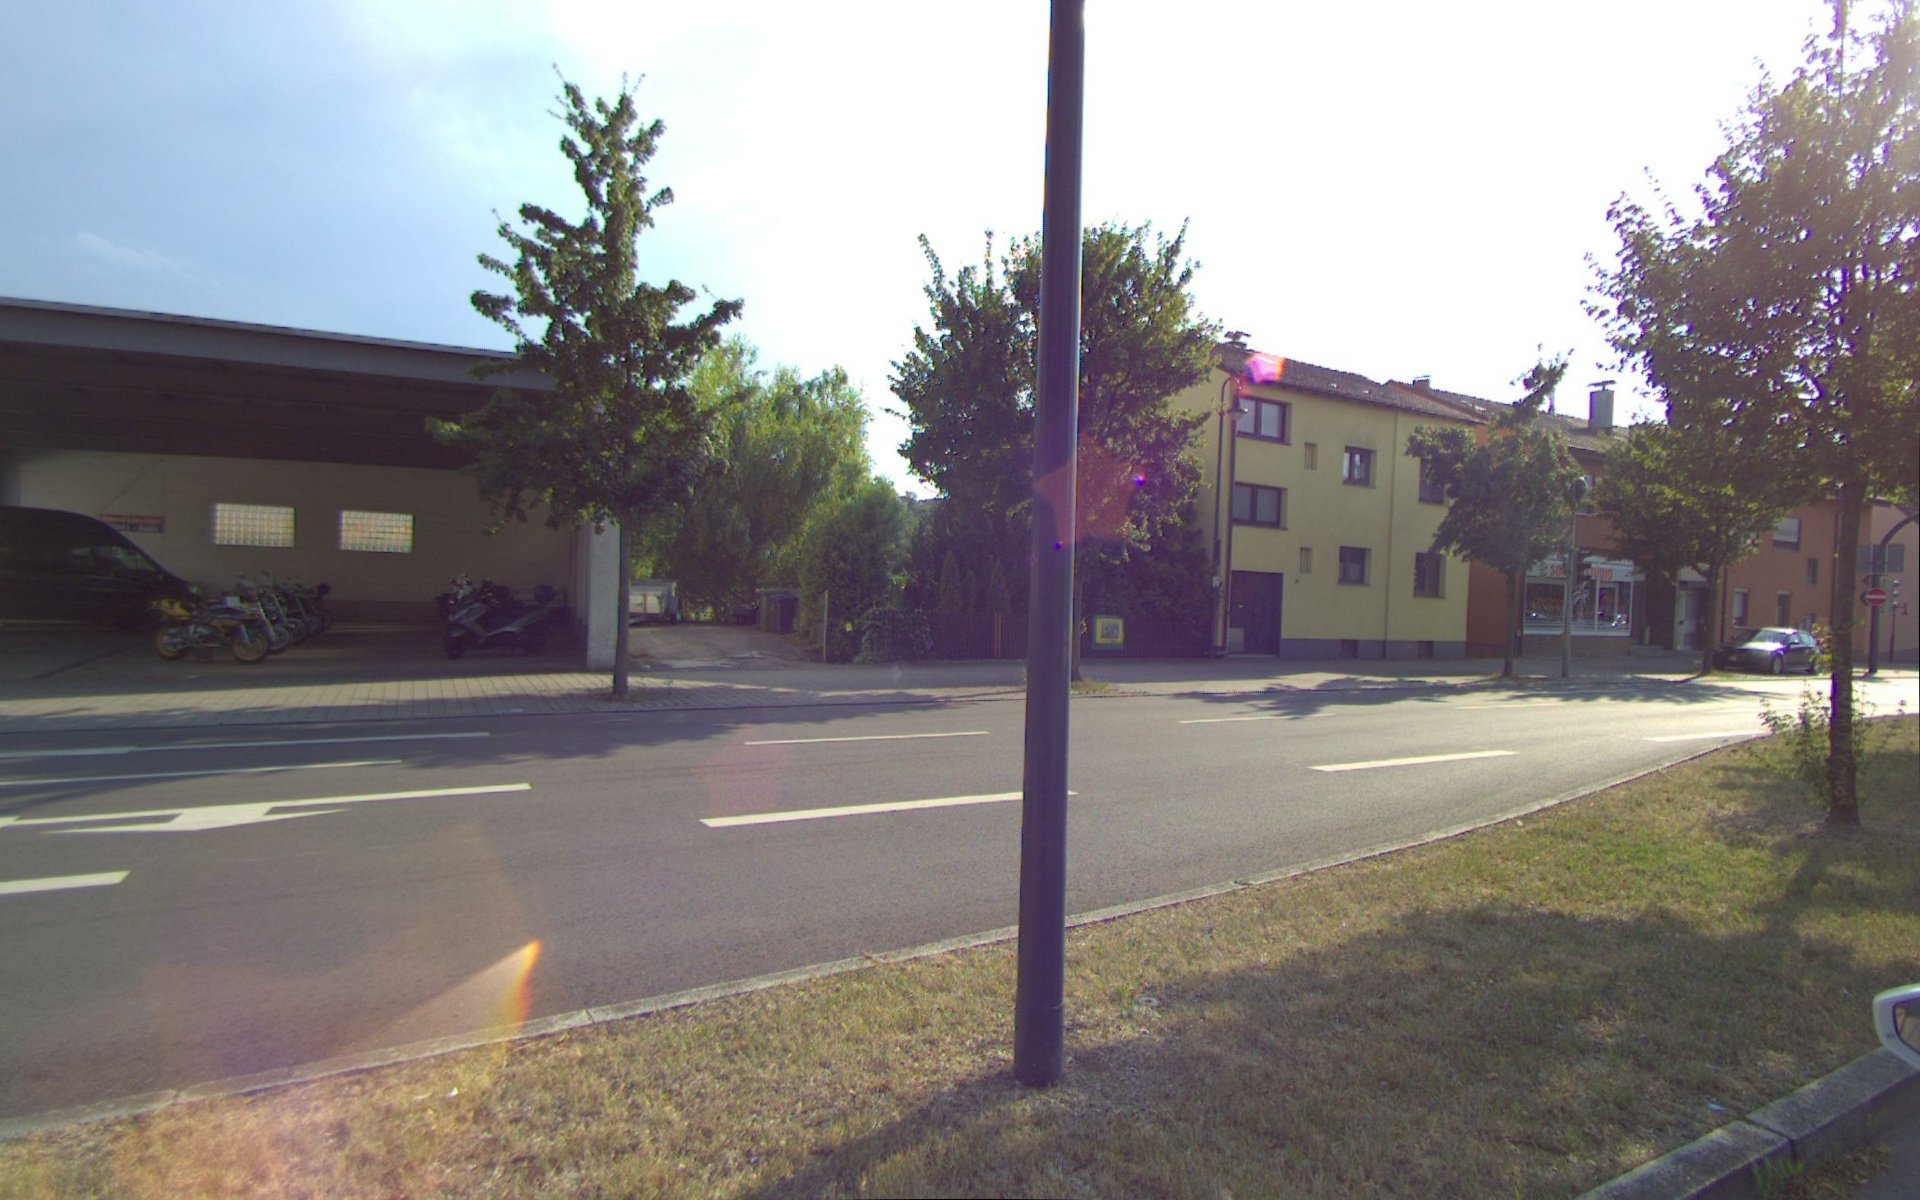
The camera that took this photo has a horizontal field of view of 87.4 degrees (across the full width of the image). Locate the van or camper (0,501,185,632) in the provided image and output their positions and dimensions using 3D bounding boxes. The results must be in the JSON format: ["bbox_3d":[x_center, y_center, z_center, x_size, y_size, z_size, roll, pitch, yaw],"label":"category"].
[{"bbox_3d":[-20.344,-0.704,21.935,1.963,2.716,5.033,1,0,26],"label":"van or camper"}]

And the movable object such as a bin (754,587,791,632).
[{"bbox_3d":[-4.781,0.236,25.589,0.712,1.101,0.727,1,3,-30],"label":"movable object such as a bin"}]

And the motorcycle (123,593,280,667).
[{"bbox_3d":[-12.509,0.487,16.597,2.111,1.139,0.631,1,0,0],"label":"motorcycle"}]

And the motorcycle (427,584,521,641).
[{"bbox_3d":[-11.801,0.309,24.458,0.573,1.325,2.086,1,0,30],"label":"motorcycle"}]

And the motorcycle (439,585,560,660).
[{"bbox_3d":[-8.628,0.416,18.919,0.553,1.325,2.112,1,0,30],"label":"motorcycle"}]

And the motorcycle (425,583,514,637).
[{"bbox_3d":[-12.568,0.269,25.801,0.553,1.325,2.086,1,0,30],"label":"motorcycle"}]

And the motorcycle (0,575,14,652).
[{"bbox_3d":[-17.241,0.217,16.770,0.637,1.329,2.007,1,0,23],"label":"motorcycle"}]

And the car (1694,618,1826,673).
[{"bbox_3d":[25.963,1.462,32.590,3.949,1.573,1.836,1,2,-27],"label":"car"}]

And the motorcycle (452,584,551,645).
[{"bbox_3d":[-10.478,0.335,23.046,0.612,1.325,2.086,1,0,30],"label":"motorcycle"}]

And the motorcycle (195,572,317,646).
[{"bbox_3d":[-14.710,0.187,21.008,2.111,1.468,0.594,1,0,0],"label":"motorcycle"}]

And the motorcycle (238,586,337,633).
[{"bbox_3d":[-17.068,0.233,25.526,2.111,1.138,0.563,1,0,0],"label":"motorcycle"}]

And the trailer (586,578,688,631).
[{"bbox_3d":[-8.115,0.065,25.524,1.692,1.199,3.594,1,1,-5],"label":"trailer"}]

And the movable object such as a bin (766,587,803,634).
[{"bbox_3d":[-4.340,0.265,24.817,0.688,1.101,0.727,1,3,-30],"label":"movable object such as a bin"}]

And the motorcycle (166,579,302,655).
[{"bbox_3d":[-13.546,0.321,18.775,2.111,1.347,0.563,1,0,0],"label":"motorcycle"}]

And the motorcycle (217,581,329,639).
[{"bbox_3d":[-15.832,0.222,23.178,2.111,1.275,0.647,1,0,0],"label":"motorcycle"}]

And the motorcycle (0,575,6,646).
[{"bbox_3d":[-18.637,0.184,18.098,0.637,1.329,2.007,1,0,23],"label":"motorcycle"}]

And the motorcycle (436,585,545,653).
[{"bbox_3d":[-9.667,0.392,20.780,0.553,1.325,2.086,1,0,30],"label":"motorcycle"}]

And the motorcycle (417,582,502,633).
[{"bbox_3d":[-13.510,0.204,27.168,0.553,1.325,2.086,1,0,30],"label":"motorcycle"}]
